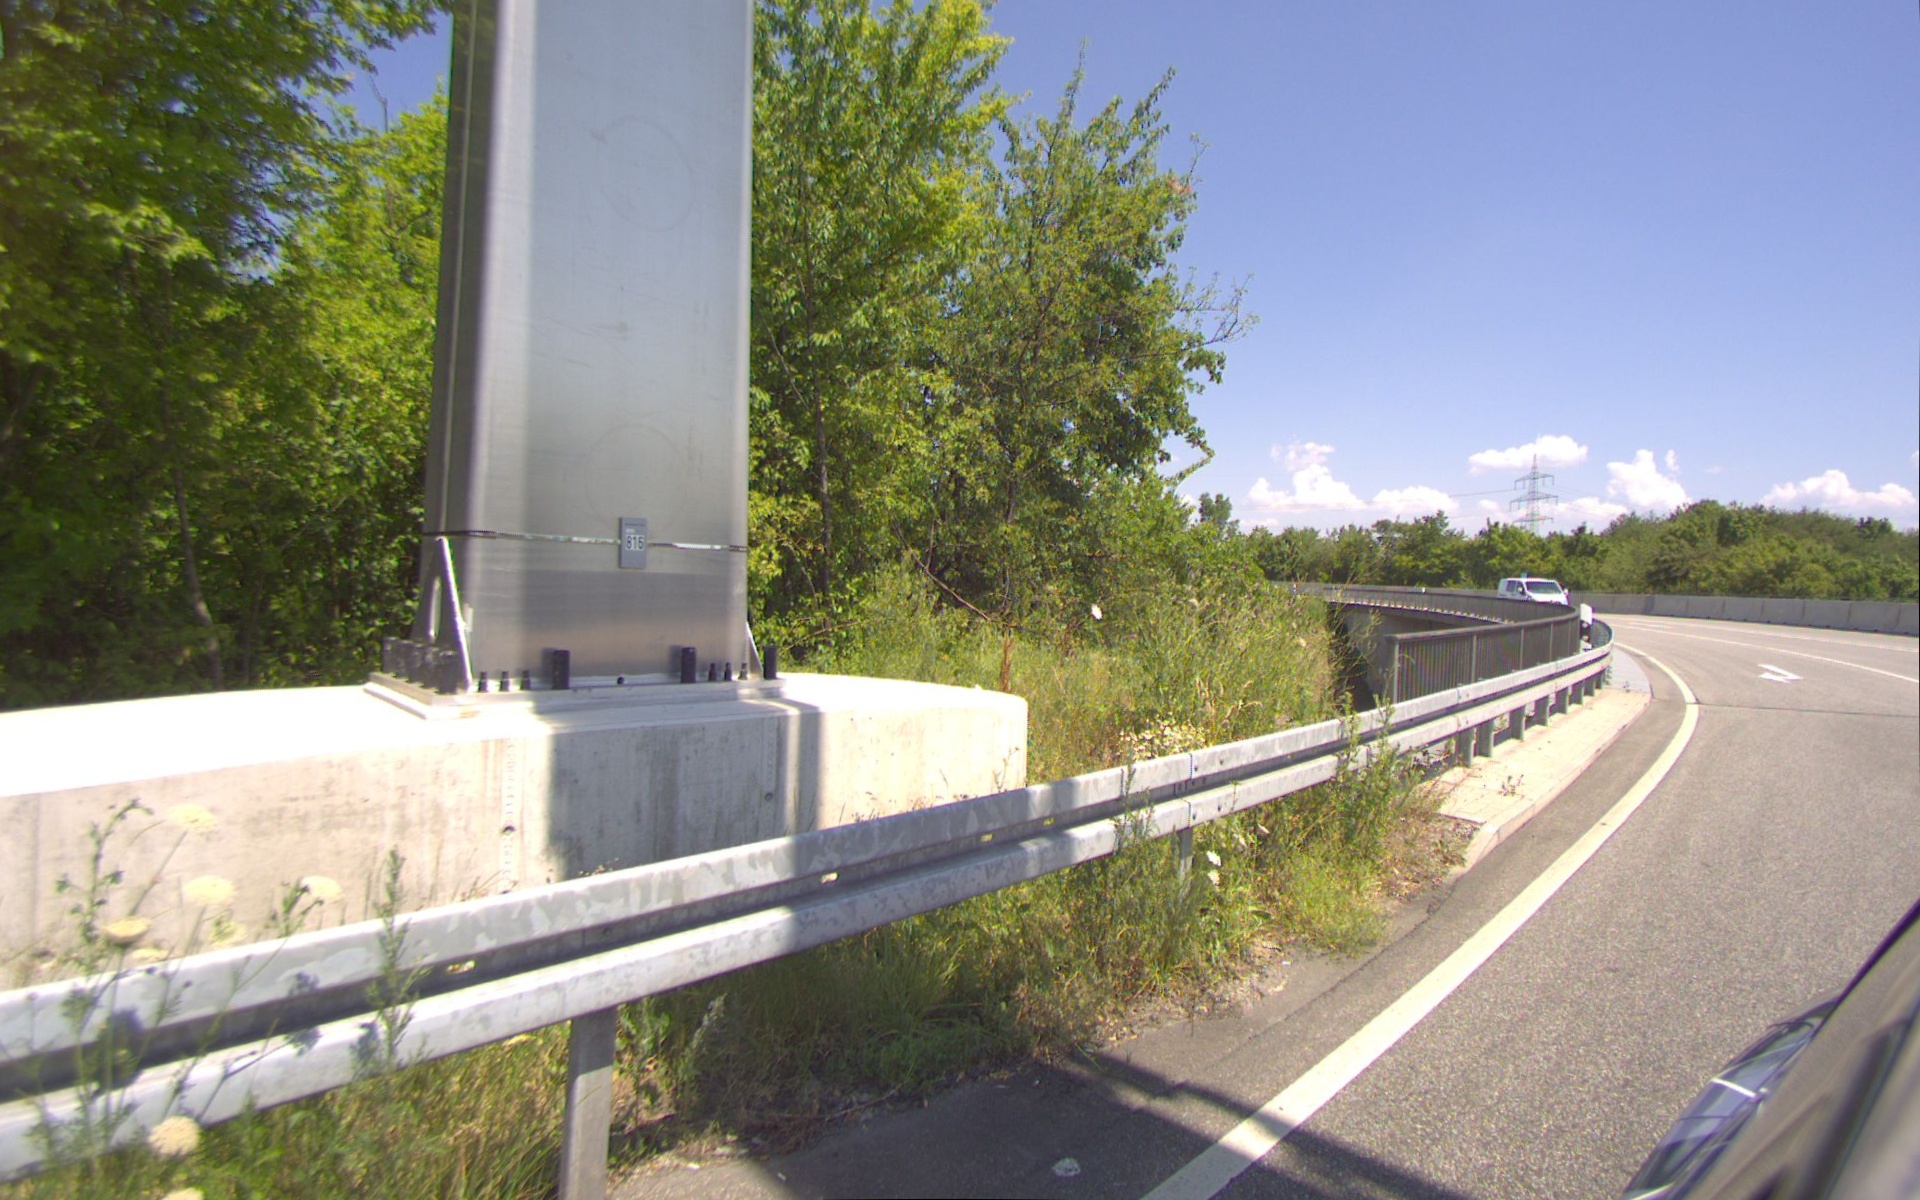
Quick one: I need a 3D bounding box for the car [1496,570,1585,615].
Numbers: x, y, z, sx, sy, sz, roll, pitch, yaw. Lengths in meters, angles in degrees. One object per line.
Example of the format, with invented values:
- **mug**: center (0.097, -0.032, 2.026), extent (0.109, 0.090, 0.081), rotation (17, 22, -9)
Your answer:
- **car**: center (29.169, -0.409, 51.075), extent (2.000, 2.110, 5.854), rotation (1, 1, 11)
